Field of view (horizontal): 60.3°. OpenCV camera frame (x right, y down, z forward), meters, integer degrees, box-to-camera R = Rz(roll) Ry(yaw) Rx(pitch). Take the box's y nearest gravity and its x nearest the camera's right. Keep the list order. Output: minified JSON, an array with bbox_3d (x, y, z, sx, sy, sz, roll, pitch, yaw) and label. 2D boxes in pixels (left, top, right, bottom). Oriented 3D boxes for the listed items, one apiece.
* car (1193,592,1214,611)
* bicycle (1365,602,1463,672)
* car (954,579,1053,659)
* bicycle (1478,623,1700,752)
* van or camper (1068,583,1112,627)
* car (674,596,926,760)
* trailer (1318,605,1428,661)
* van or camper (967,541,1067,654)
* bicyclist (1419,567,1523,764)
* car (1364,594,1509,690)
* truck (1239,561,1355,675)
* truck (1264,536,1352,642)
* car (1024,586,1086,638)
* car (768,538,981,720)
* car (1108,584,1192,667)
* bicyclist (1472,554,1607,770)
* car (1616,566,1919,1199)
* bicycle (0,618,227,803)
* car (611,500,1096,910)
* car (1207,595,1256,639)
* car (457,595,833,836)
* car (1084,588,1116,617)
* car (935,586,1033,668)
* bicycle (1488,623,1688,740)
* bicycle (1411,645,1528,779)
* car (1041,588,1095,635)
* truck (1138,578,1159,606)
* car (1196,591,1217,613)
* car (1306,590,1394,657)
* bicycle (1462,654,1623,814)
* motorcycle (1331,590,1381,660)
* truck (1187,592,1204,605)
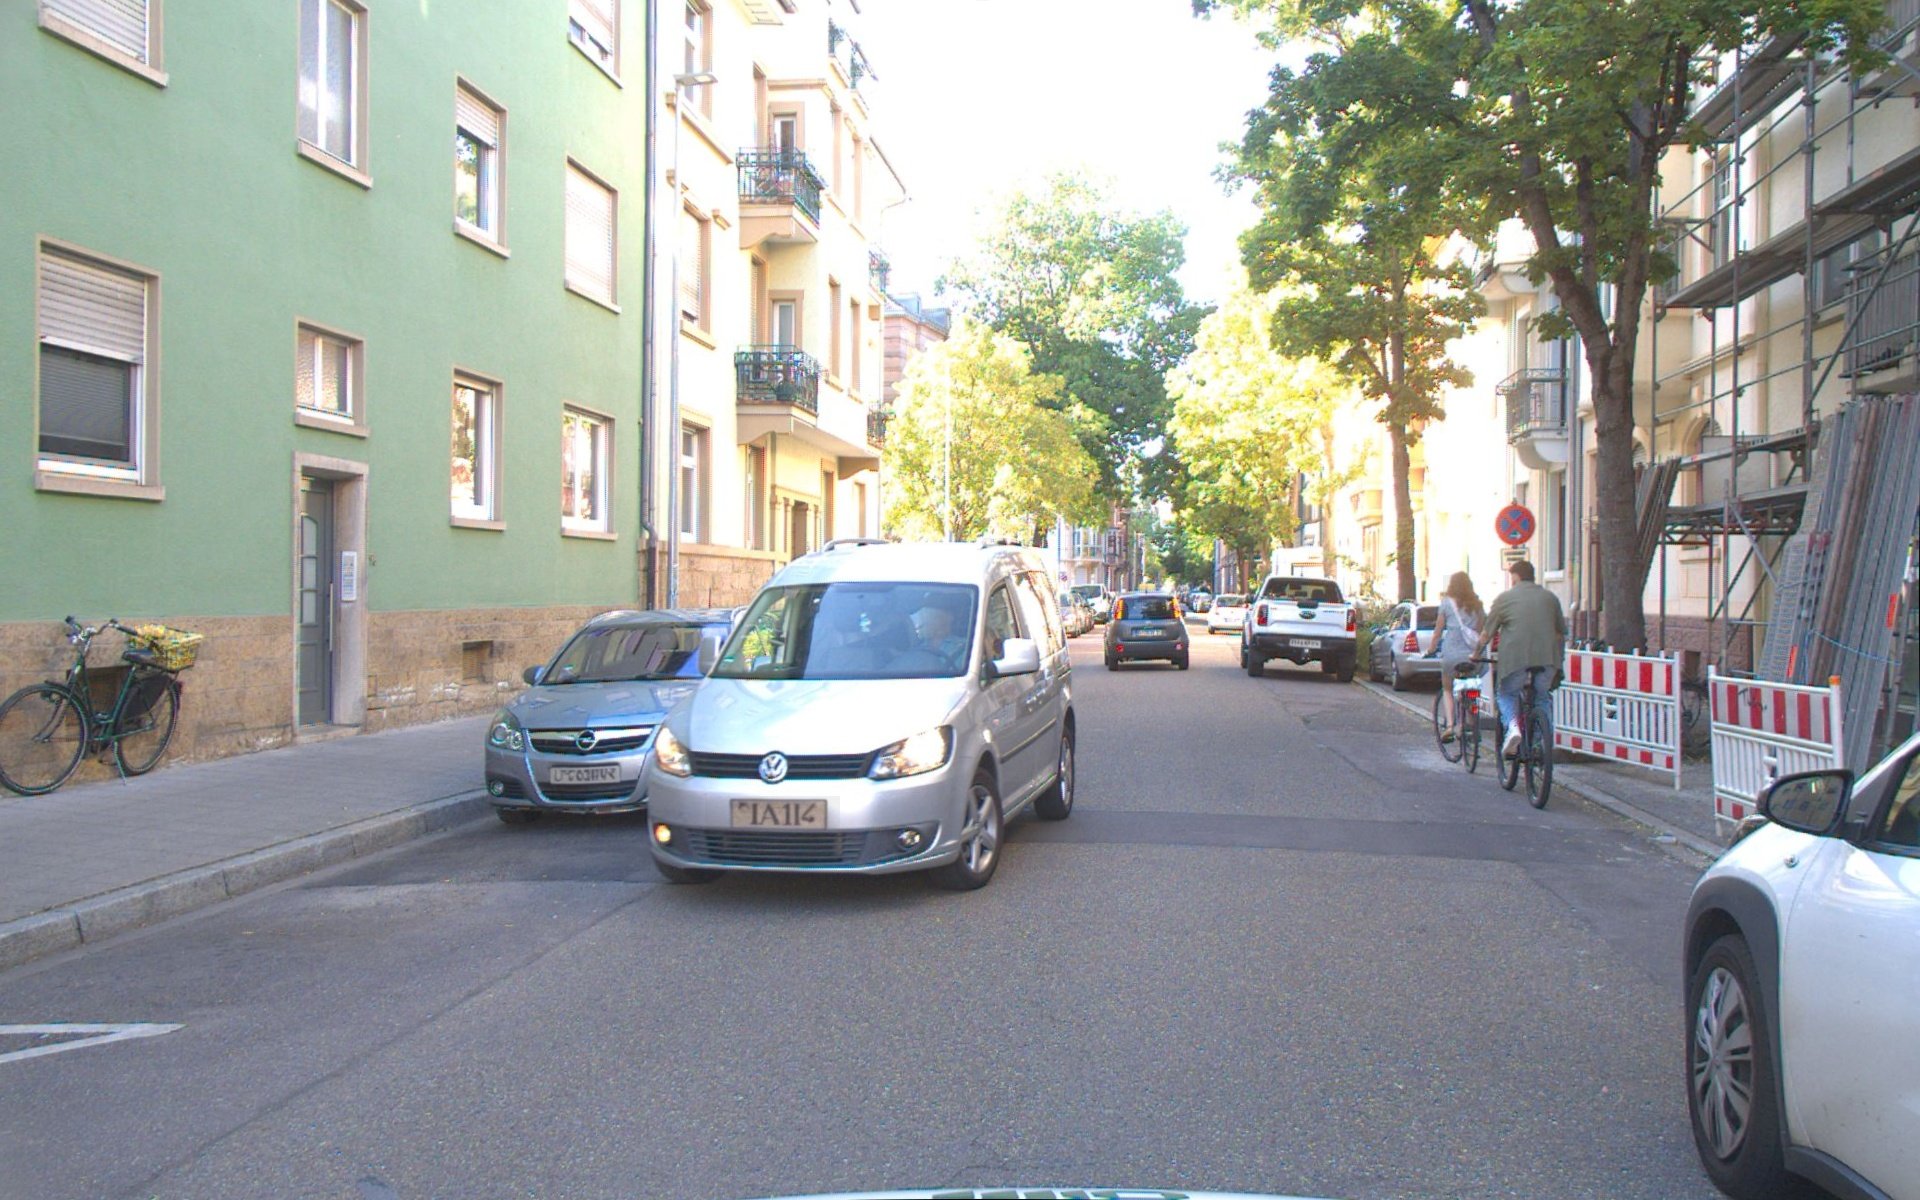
[{"bbox_3d":[19.989,0.122,135.793,1.627,1.531,3.760,1,1,8],"label":"car"},{"bbox_3d":[8.702,0.703,31.745,1.721,1.328,0.586,0,0,6],"label":"bicycle"},{"bbox_3d":[1.111,0.403,39.215,1.835,1.715,4.973,-2,0,7],"label":"car"},{"bbox_3d":[6.142,0.824,16.198,1.892,1.141,0.744,1,1,37],"label":"bicycle"},{"bbox_3d":[6.524,0.233,82.565,1.881,2.014,5.466,-3,0,6],"label":"van or camper"},{"bbox_3d":[-1.571,0.739,17.847,1.794,1.488,4.366,-2,0,6],"label":"car"},{"bbox_3d":[8.830,0.703,35.426,2.040,1.131,1.114,1,0,-7],"label":"trailer"},{"bbox_3d":[1.631,-0.084,44.969,2.083,2.817,5.856,-2,0,7],"label":"van or camper"},{"bbox_3d":[4.707,0.582,15.285,0.699,1.718,0.982,3,0,9],"label":"bicyclist"},{"bbox_3d":[7.937,0.651,27.878,1.644,1.447,4.433,-1,0,7],"label":"car"},{"bbox_3d":[6.379,0.293,31.784,1.789,1.983,5.545,1,0,8],"label":"truck"},{"bbox_3d":[10.770,-0.346,51.563,2.029,3.020,6.114,-2,0,7],"label":"truck"},{"bbox_3d":[3.241,0.372,55.707,1.742,1.618,4.472,-2,0,7],"label":"car"},{"bbox_3d":[-1.055,0.362,23.470,2.204,2.206,5.247,-2,0,5],"label":"car"},{"bbox_3d":[3.866,0.474,33.372,1.598,1.577,3.267,1,1,8],"label":"car"},{"bbox_3d":[4.504,0.460,12.918,0.739,1.592,0.982,2,0,5],"label":"bicyclist"},{"bbox_3d":[2.654,0.740,3.105,1.764,1.562,3.967,1,1,9],"label":"car"},{"bbox_3d":[-5.800,0.696,11.240,0.476,1.094,1.971,4,0,7],"label":"bicycle"},{"bbox_3d":[-0.347,0.501,9.902,1.733,1.875,4.420,-2,0,12],"label":"car"},{"bbox_3d":[10.341,0.611,63.222,1.643,1.571,3.803,1,0,7],"label":"car"},{"bbox_3d":[-2.204,0.739,12.858,1.683,1.488,4.509,-2,0,5],"label":"car"},{"bbox_3d":[8.314,0.162,98.296,1.786,1.581,4.136,-3,0,5],"label":"car"},{"bbox_3d":[0.557,0.541,34.169,1.600,1.579,4.092,-1,0,7],"label":"car"},{"bbox_3d":[6.640,0.842,17.598,1.935,1.141,0.748,1,0,18],"label":"bicycle"},{"bbox_3d":[4.675,0.996,15.279,0.691,1.063,1.859,4,0,8],"label":"bicycle"},{"bbox_3d":[4.082,0.411,61.860,1.640,1.600,4.155,-3,0,8],"label":"car"},{"bbox_3d":[21.256,-0.944,186.699,2.026,2.977,5.072,-3,0,8],"label":"truck"},{"bbox_3d":[19.567,0.134,131.311,1.627,1.698,3.760,1,1,8],"label":"car"},{"bbox_3d":[9.576,0.541,40.873,1.713,1.556,4.785,-1,0,8],"label":"car"},{"bbox_3d":[4.487,0.996,12.882,0.723,1.078,1.859,2,0,5],"label":"bicycle"},{"bbox_3d":[8.926,0.537,37.350,0.910,1.512,2.140,1,0,9],"label":"motorcycle"},{"bbox_3d":[27.642,-0.180,194.247,1.951,1.482,4.003,0,0,7],"label":"truck"}]
